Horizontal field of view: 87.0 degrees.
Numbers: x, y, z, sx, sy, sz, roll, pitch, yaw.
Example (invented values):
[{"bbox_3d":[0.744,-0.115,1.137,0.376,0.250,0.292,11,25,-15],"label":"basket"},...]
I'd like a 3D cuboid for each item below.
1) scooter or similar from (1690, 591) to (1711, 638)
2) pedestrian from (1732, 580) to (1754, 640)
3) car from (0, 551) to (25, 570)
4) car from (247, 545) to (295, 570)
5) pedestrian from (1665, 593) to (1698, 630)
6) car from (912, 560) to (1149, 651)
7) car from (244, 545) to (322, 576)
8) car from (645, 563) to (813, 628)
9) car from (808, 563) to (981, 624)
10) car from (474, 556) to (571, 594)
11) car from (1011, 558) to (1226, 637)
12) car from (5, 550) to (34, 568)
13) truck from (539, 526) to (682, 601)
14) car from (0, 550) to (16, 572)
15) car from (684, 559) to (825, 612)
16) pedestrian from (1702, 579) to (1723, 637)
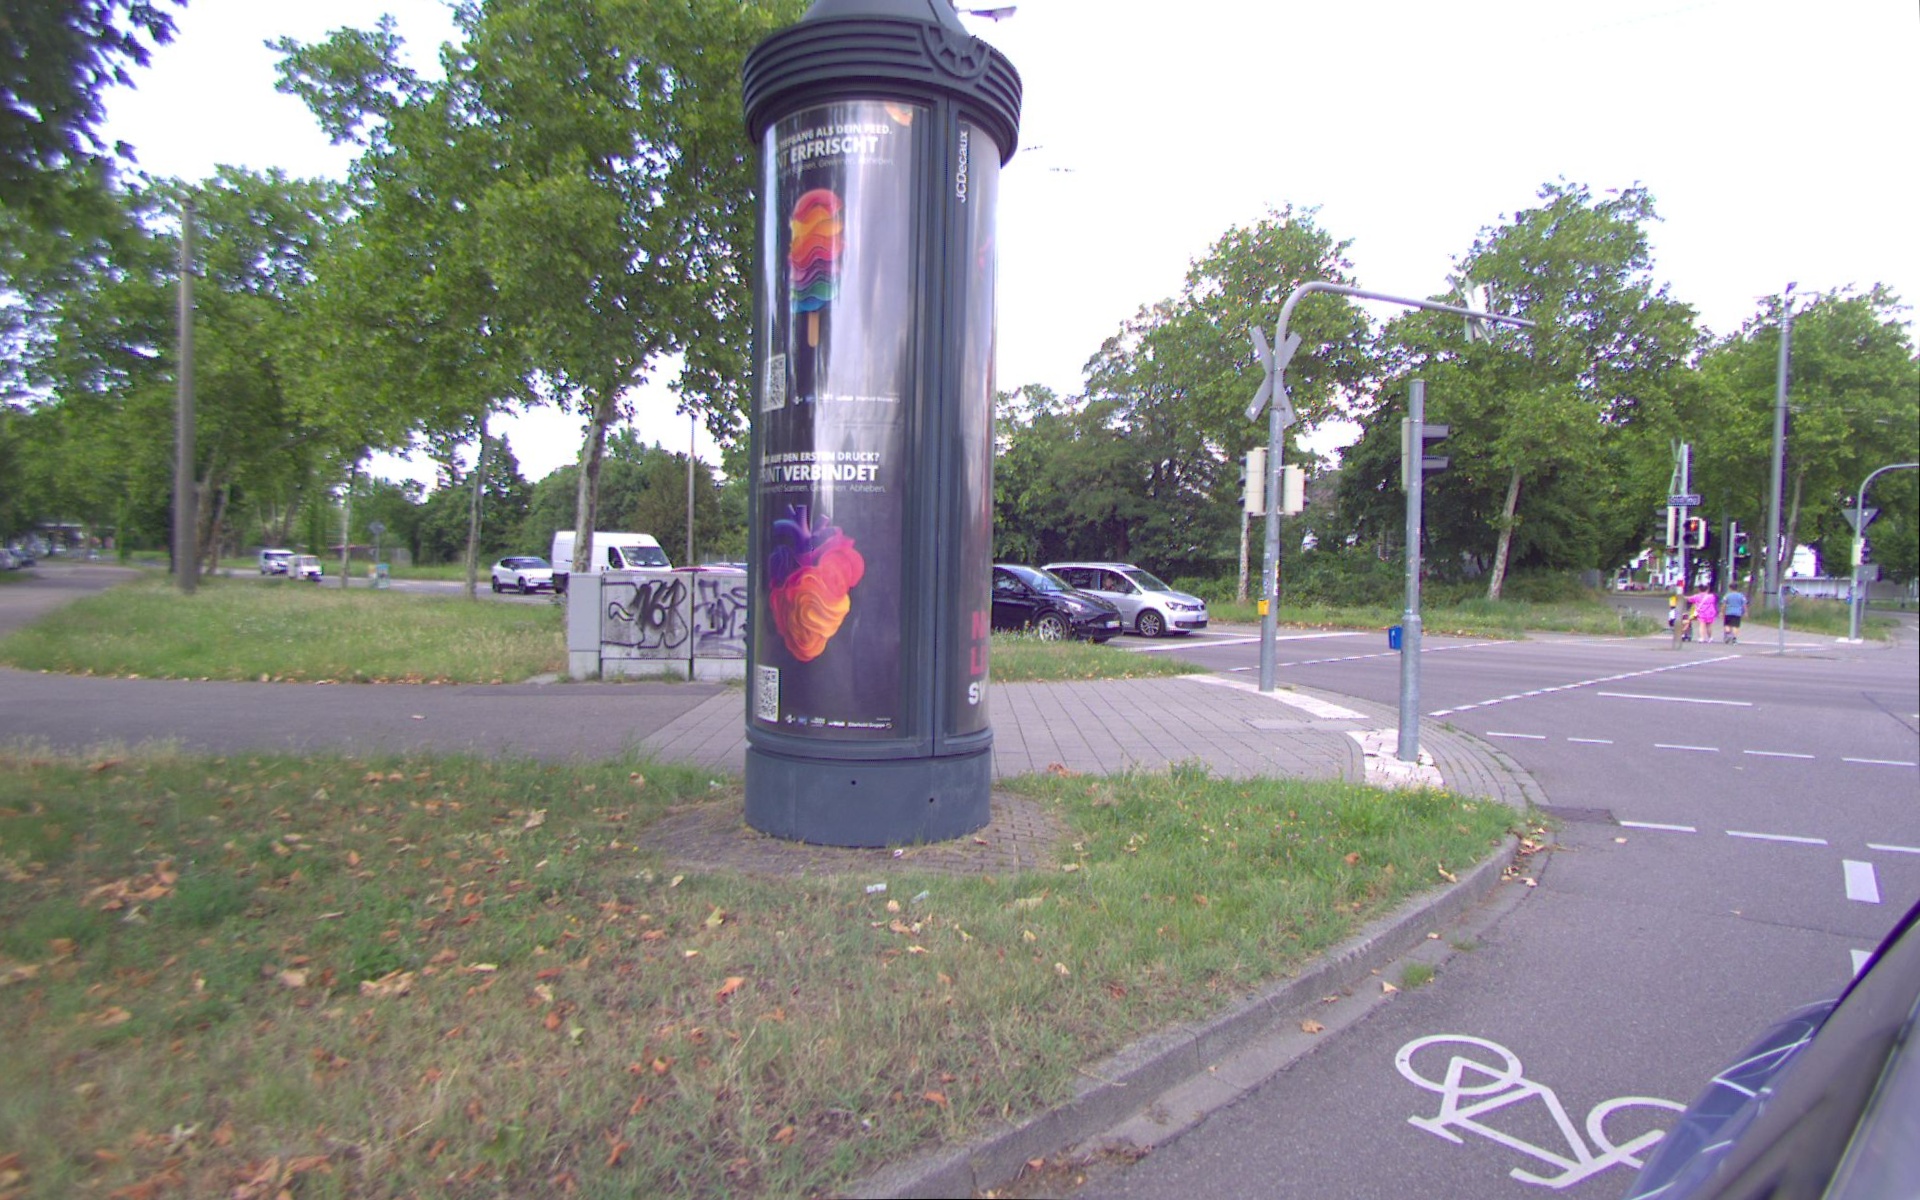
[{"bbox_3d":[19.473,0.366,26.607,0.393,1.175,1.102,2,2,35],"label":"scooter or similar"},{"bbox_3d":[20.450,0.249,26.429,0.417,1.527,0.445,2,2,38],"label":"pedestrian"},{"bbox_3d":[-74.202,-3.103,79.032,1.650,1.408,3.302,0,2,-41],"label":"car"},{"bbox_3d":[-49.710,-3.041,72.991,3.985,1.727,1.970,3,2,42],"label":"car"},{"bbox_3d":[21.389,0.316,30.013,0.719,1.047,0.889,2,2,40],"label":"pedestrian"},{"bbox_3d":[1.368,0.005,20.958,4.666,1.630,1.972,3,3,40],"label":"car"},{"bbox_3d":[-34.813,-2.055,52.010,4.662,1.532,1.973,2,3,38],"label":"car"},{"bbox_3d":[-6.222,-0.202,26.964,4.665,1.532,1.972,3,3,40],"label":"car"},{"bbox_3d":[-1.863,-0.240,27.947,4.728,1.487,1.972,3,3,40],"label":"car"},{"bbox_3d":[-18.976,-1.116,43.832,4.665,1.532,1.972,3,3,40],"label":"car"},{"bbox_3d":[3.657,-0.150,23.813,4.665,1.630,1.972,3,3,40],"label":"car"},{"bbox_3d":[-79.374,-3.479,85.447,1.650,1.408,3.302,0,2,-41],"label":"car"},{"bbox_3d":[-13.358,-1.411,38.433,6.481,2.628,2.184,3,2,41],"label":"truck"},{"bbox_3d":[-63.827,-2.578,67.128,1.650,1.408,3.302,0,2,-41],"label":"car"},{"bbox_3d":[-6.638,-0.516,32.398,4.665,1.532,1.972,3,3,40],"label":"car"},{"bbox_3d":[20.038,0.198,26.952,0.417,1.527,0.387,2,2,38],"label":"pedestrian"}]
